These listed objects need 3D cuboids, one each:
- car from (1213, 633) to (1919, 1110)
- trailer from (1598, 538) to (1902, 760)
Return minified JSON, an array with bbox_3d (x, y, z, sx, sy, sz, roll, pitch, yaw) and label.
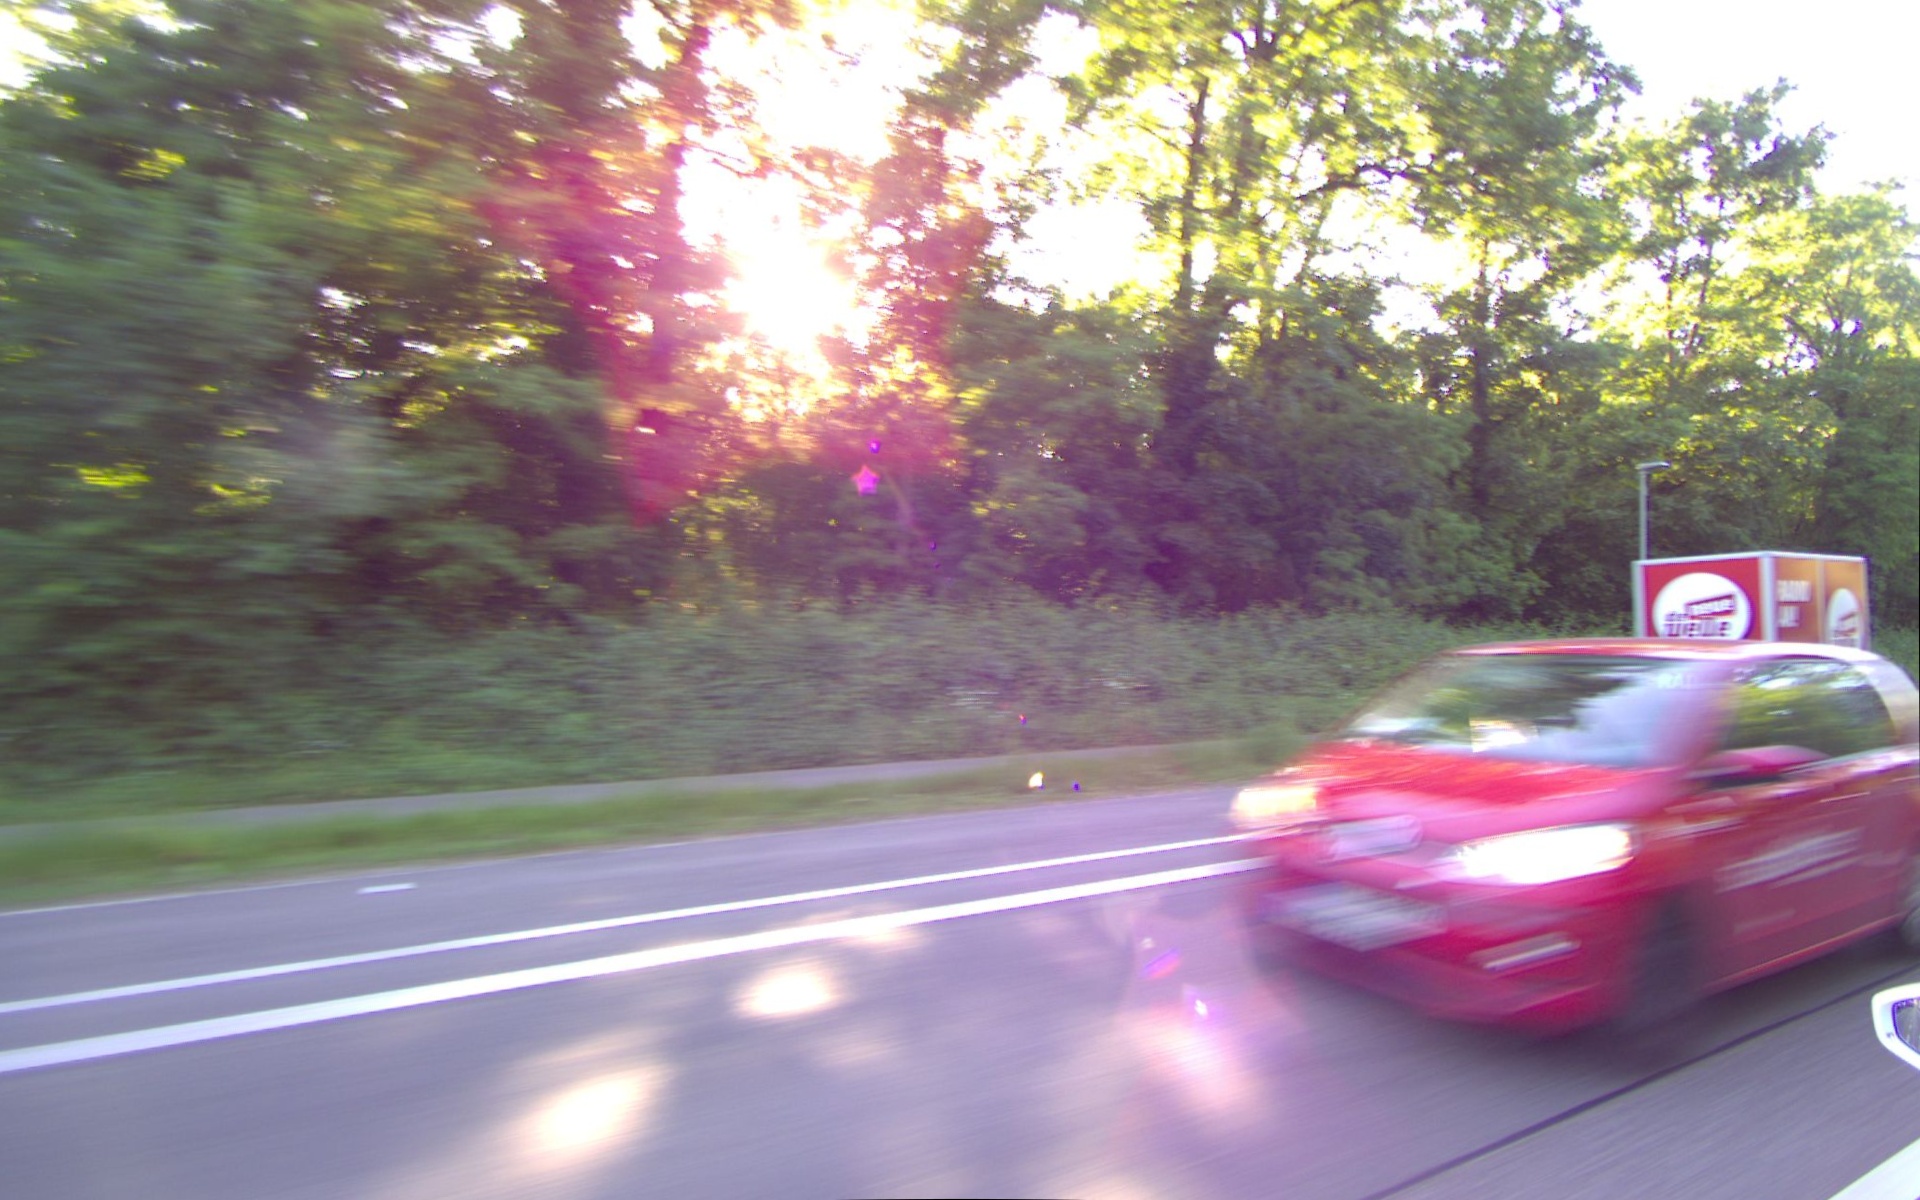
[{"bbox_3d":[3.011,0.880,4.634,3.477,1.439,1.596,1,-2,-30],"label":"car"},{"bbox_3d":[10.973,0.635,13.916,4.037,2.656,1.984,1,-1,-30],"label":"trailer"}]
